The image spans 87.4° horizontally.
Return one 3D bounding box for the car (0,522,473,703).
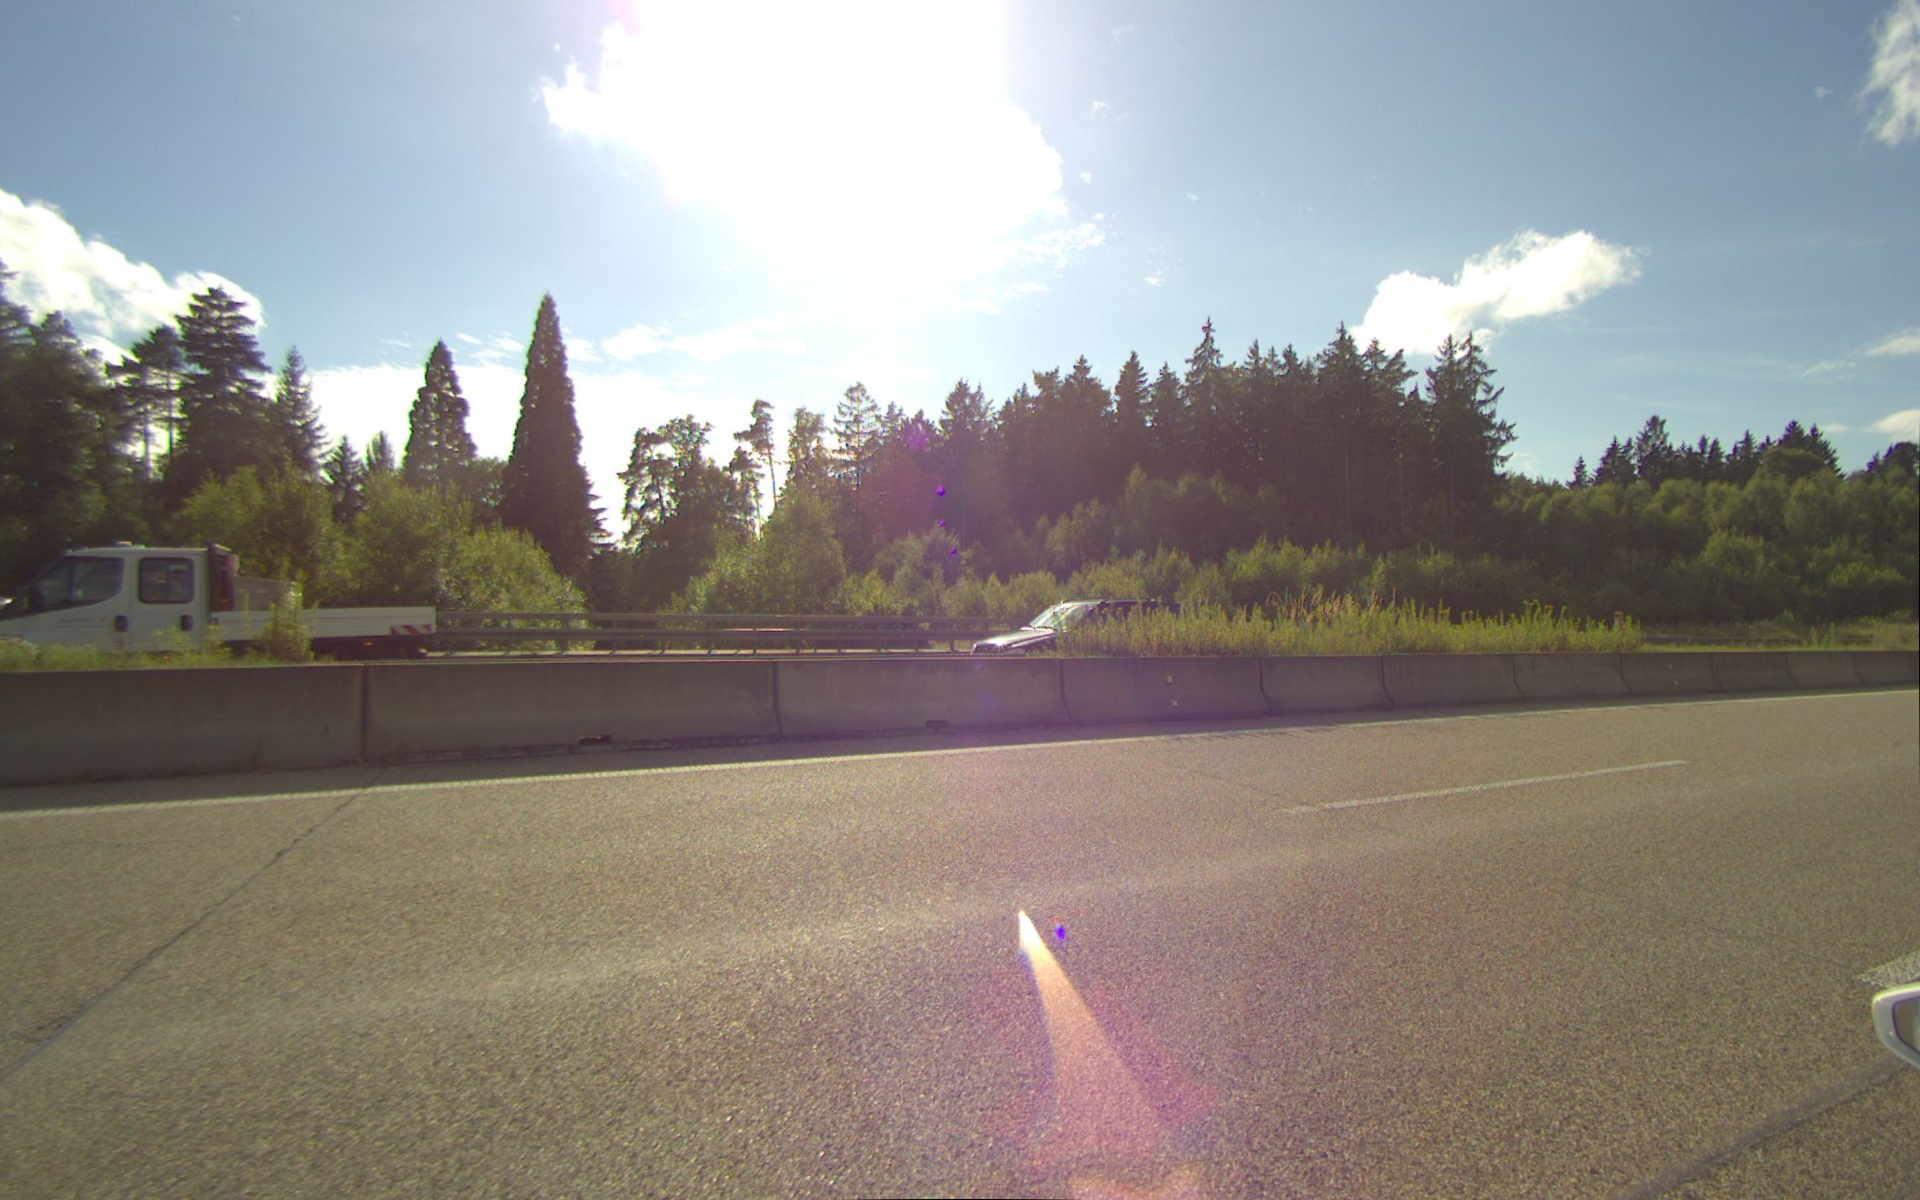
[{"bbox_3d":[-10.971,0.152,15.422,6.119,2.349,2.298,1,3,-30],"label":"car"}]
